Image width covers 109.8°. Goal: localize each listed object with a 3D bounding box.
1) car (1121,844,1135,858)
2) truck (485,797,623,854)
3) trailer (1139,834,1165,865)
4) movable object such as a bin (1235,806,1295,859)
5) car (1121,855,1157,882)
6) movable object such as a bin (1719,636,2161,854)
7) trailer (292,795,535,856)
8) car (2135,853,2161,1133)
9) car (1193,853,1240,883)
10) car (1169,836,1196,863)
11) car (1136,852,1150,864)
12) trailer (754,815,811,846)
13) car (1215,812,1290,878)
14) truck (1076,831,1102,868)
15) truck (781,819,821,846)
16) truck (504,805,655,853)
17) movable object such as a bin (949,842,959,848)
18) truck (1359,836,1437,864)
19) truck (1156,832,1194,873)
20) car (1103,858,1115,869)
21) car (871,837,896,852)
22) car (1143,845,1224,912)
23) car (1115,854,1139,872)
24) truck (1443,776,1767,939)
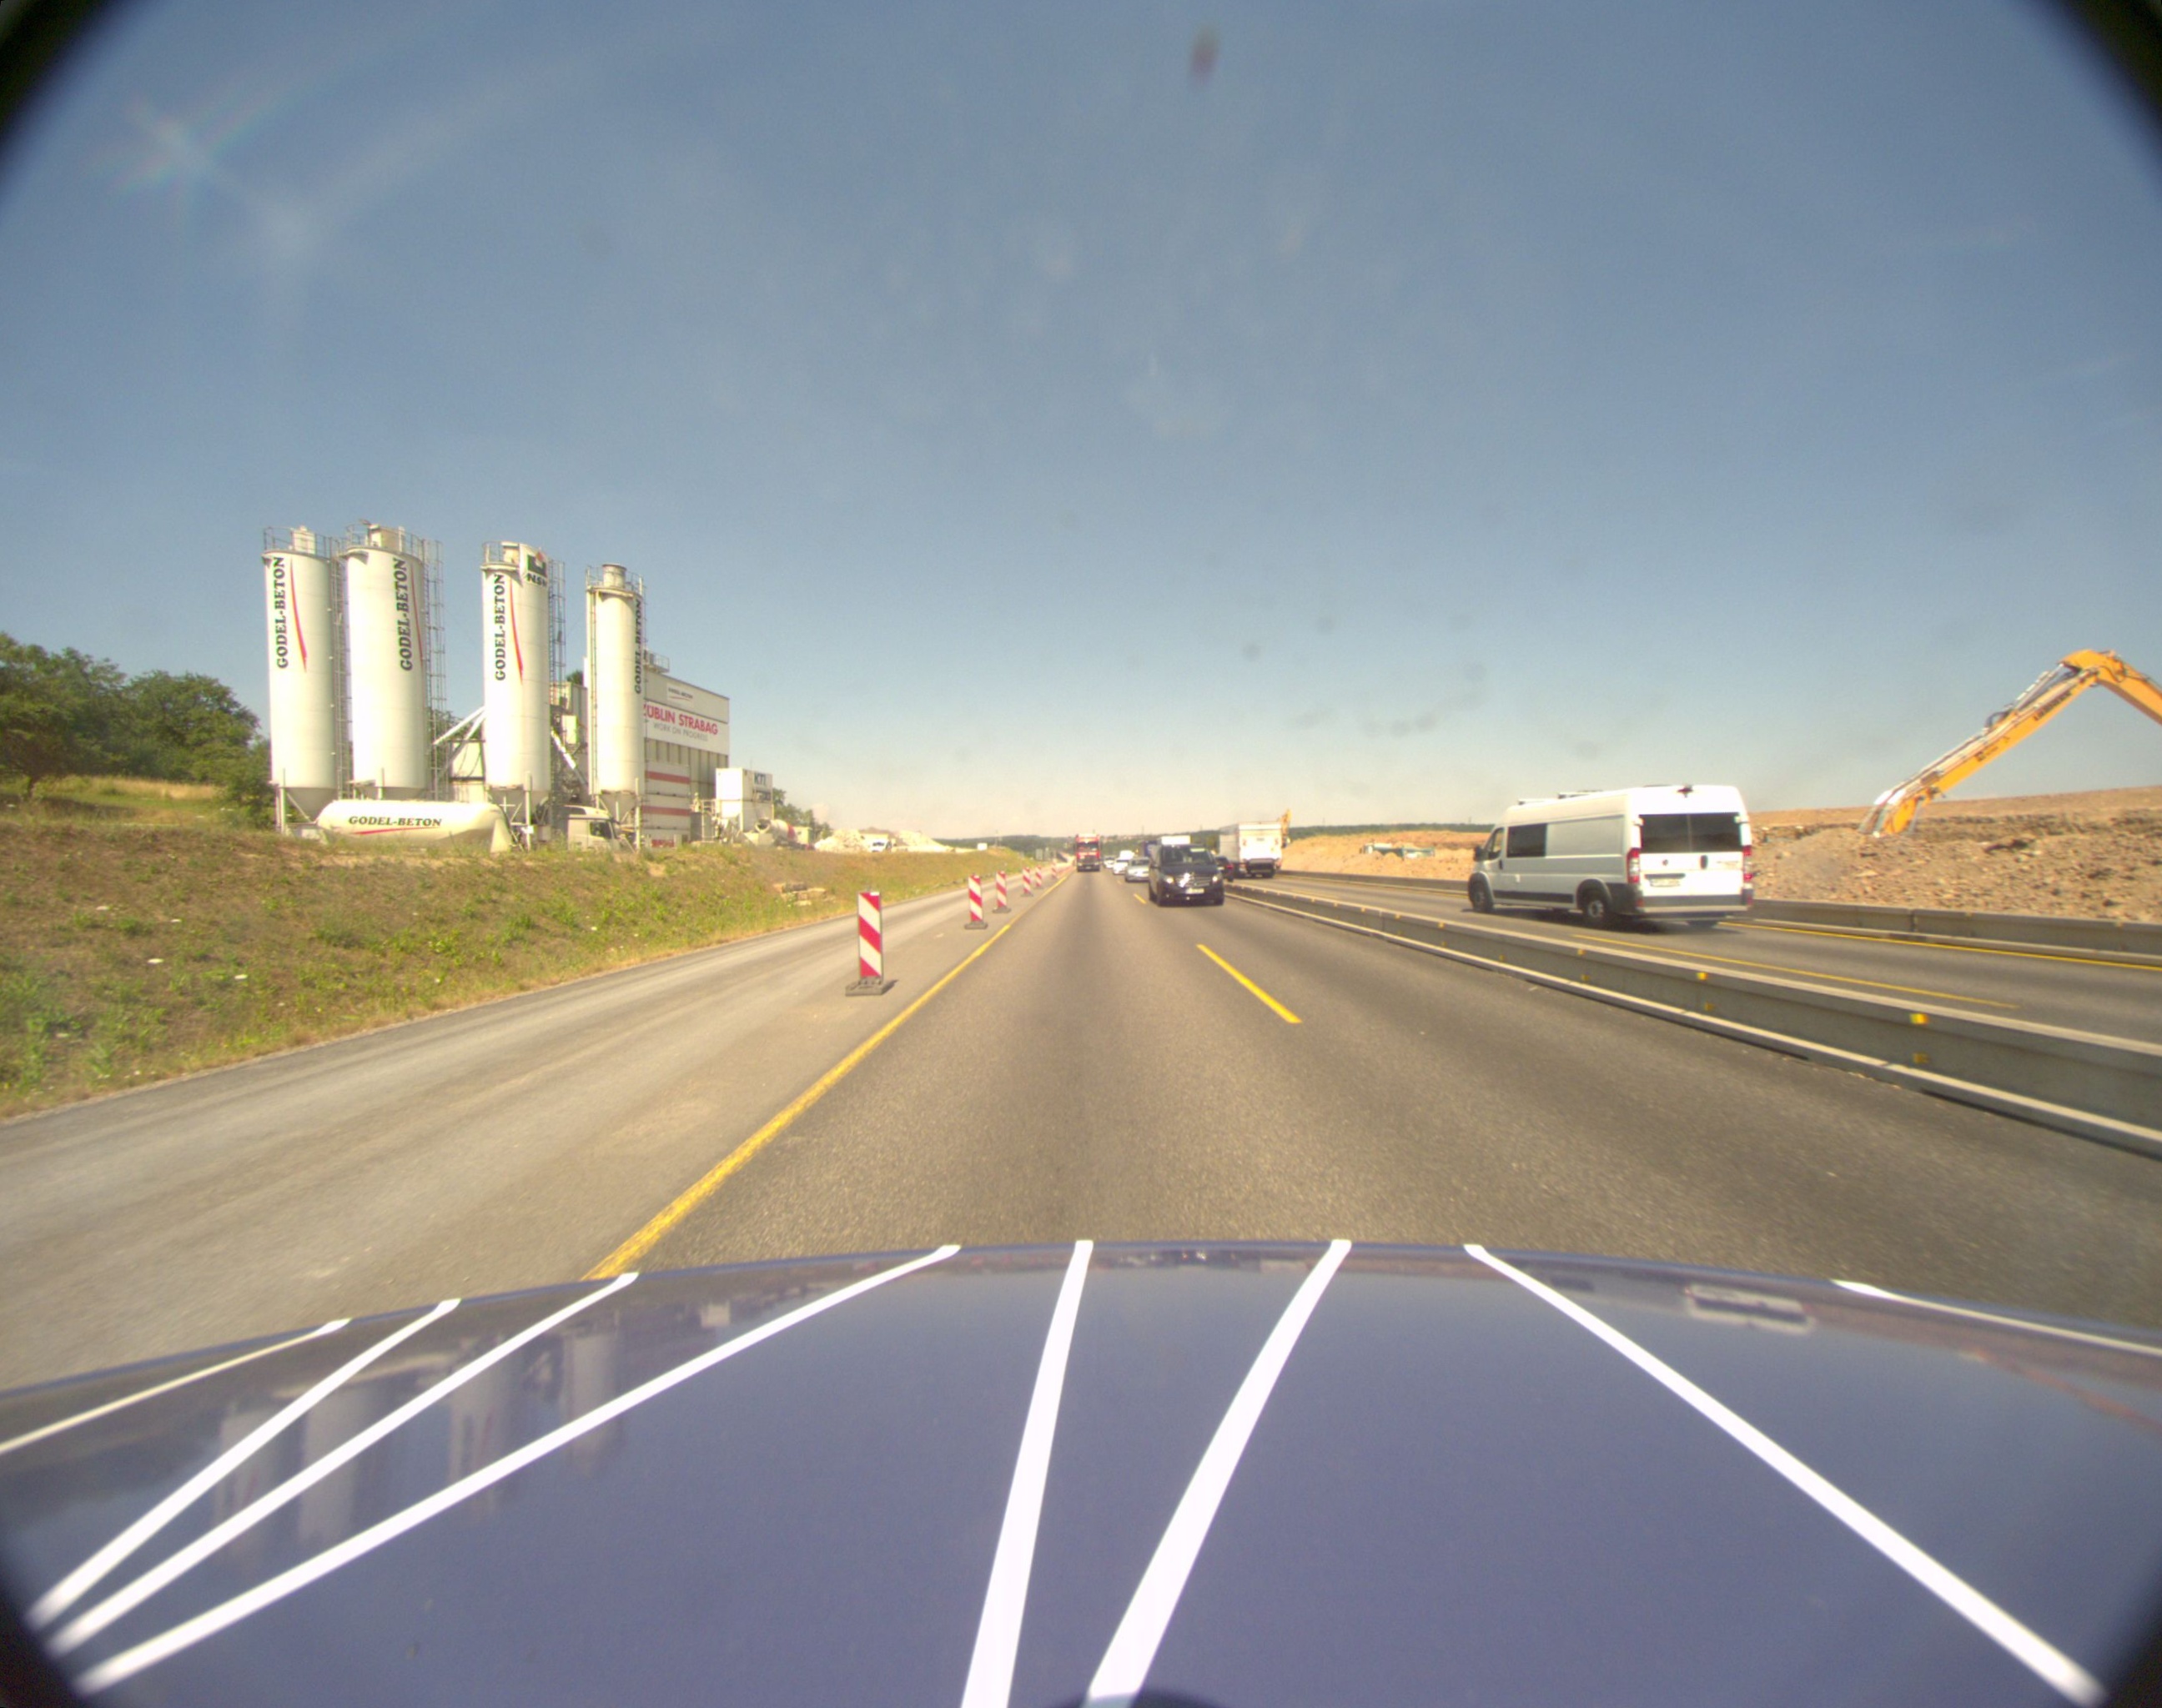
[{"bbox_3d":[8.101,-0.437,132.046,2.040,2.329,6.196,-2,0,1],"label":"car"},{"bbox_3d":[-25.844,-1.400,37.407,5.317,2.530,2.897,-3,1,-36],"label":"truck"},{"bbox_3d":[11.507,-0.750,124.473,2.993,4.569,12.882,-2,1,0],"label":"trailer"},{"bbox_3d":[25.915,-2.933,107.236,7.378,7.073,4.081,-2,1,1],"label":"movable object such as a bin"},{"bbox_3d":[3.422,0.841,45.146,1.804,1.499,4.100,-2,0,0],"label":"car"},{"bbox_3d":[33.097,-3.715,26.683,18.266,6.734,3.388,-2,1,1],"label":"movable object such as a bin"},{"bbox_3d":[-31.206,-1.321,35.808,8.919,2.592,2.463,-1,1,-3],"label":"trailer"},{"bbox_3d":[6.489,0.728,2.072,1.631,1.476,4.053,-2,1,1],"label":"car"},{"bbox_3d":[7.320,0.710,41.568,1.793,1.473,4.561,-2,1,1],"label":"car"},{"bbox_3d":[11.454,-0.522,86.063,2.257,2.938,5.848,-2,1,1],"label":"car"},{"bbox_3d":[8.630,0.538,106.397,1.766,1.565,4.362,-2,0,2],"label":"car"},{"bbox_3d":[-27.592,-2.096,70.490,1.998,2.629,6.937,-2,1,4],"label":"trailer"},{"bbox_3d":[10.665,-0.489,48.167,2.915,3.718,8.091,-2,0,1],"label":"car"},{"bbox_3d":[0.991,-0.483,83.797,2.537,3.798,9.481,-2,1,2],"label":"truck"},{"bbox_3d":[-27.330,-2.077,74.308,2.021,2.530,4.041,-2,1,4],"label":"truck"},{"bbox_3d":[-34.355,-1.668,52.197,9.090,2.852,2.460,-2,1,7],"label":"truck"},{"bbox_3d":[-15.209,-1.024,91.068,0.838,0.678,2.249,-2,1,1],"label":"movable object such as a bin"},{"bbox_3d":[25.786,-0.374,62.354,2.568,2.046,8.802,-2,1,-1],"label":"truck"},{"bbox_3d":[7.686,-0.124,62.950,2.276,3.131,7.313,-2,1,1],"label":"truck"},{"bbox_3d":[3.926,1.321,107.758,1.601,1.390,3.695,-2,1,1],"label":"car"},{"bbox_3d":[-24.688,-1.181,95.054,1.990,1.752,3.601,-2,1,0],"label":"car"},{"bbox_3d":[3.159,0.669,24.399,1.878,1.840,5.478,-2,1,1],"label":"car"},{"bbox_3d":[3.912,0.756,65.320,1.875,1.390,4.030,-2,1,1],"label":"car"},{"bbox_3d":[10.042,0.115,15.540,2.103,2.554,6.355,-3,-1,0],"label":"truck"}]
